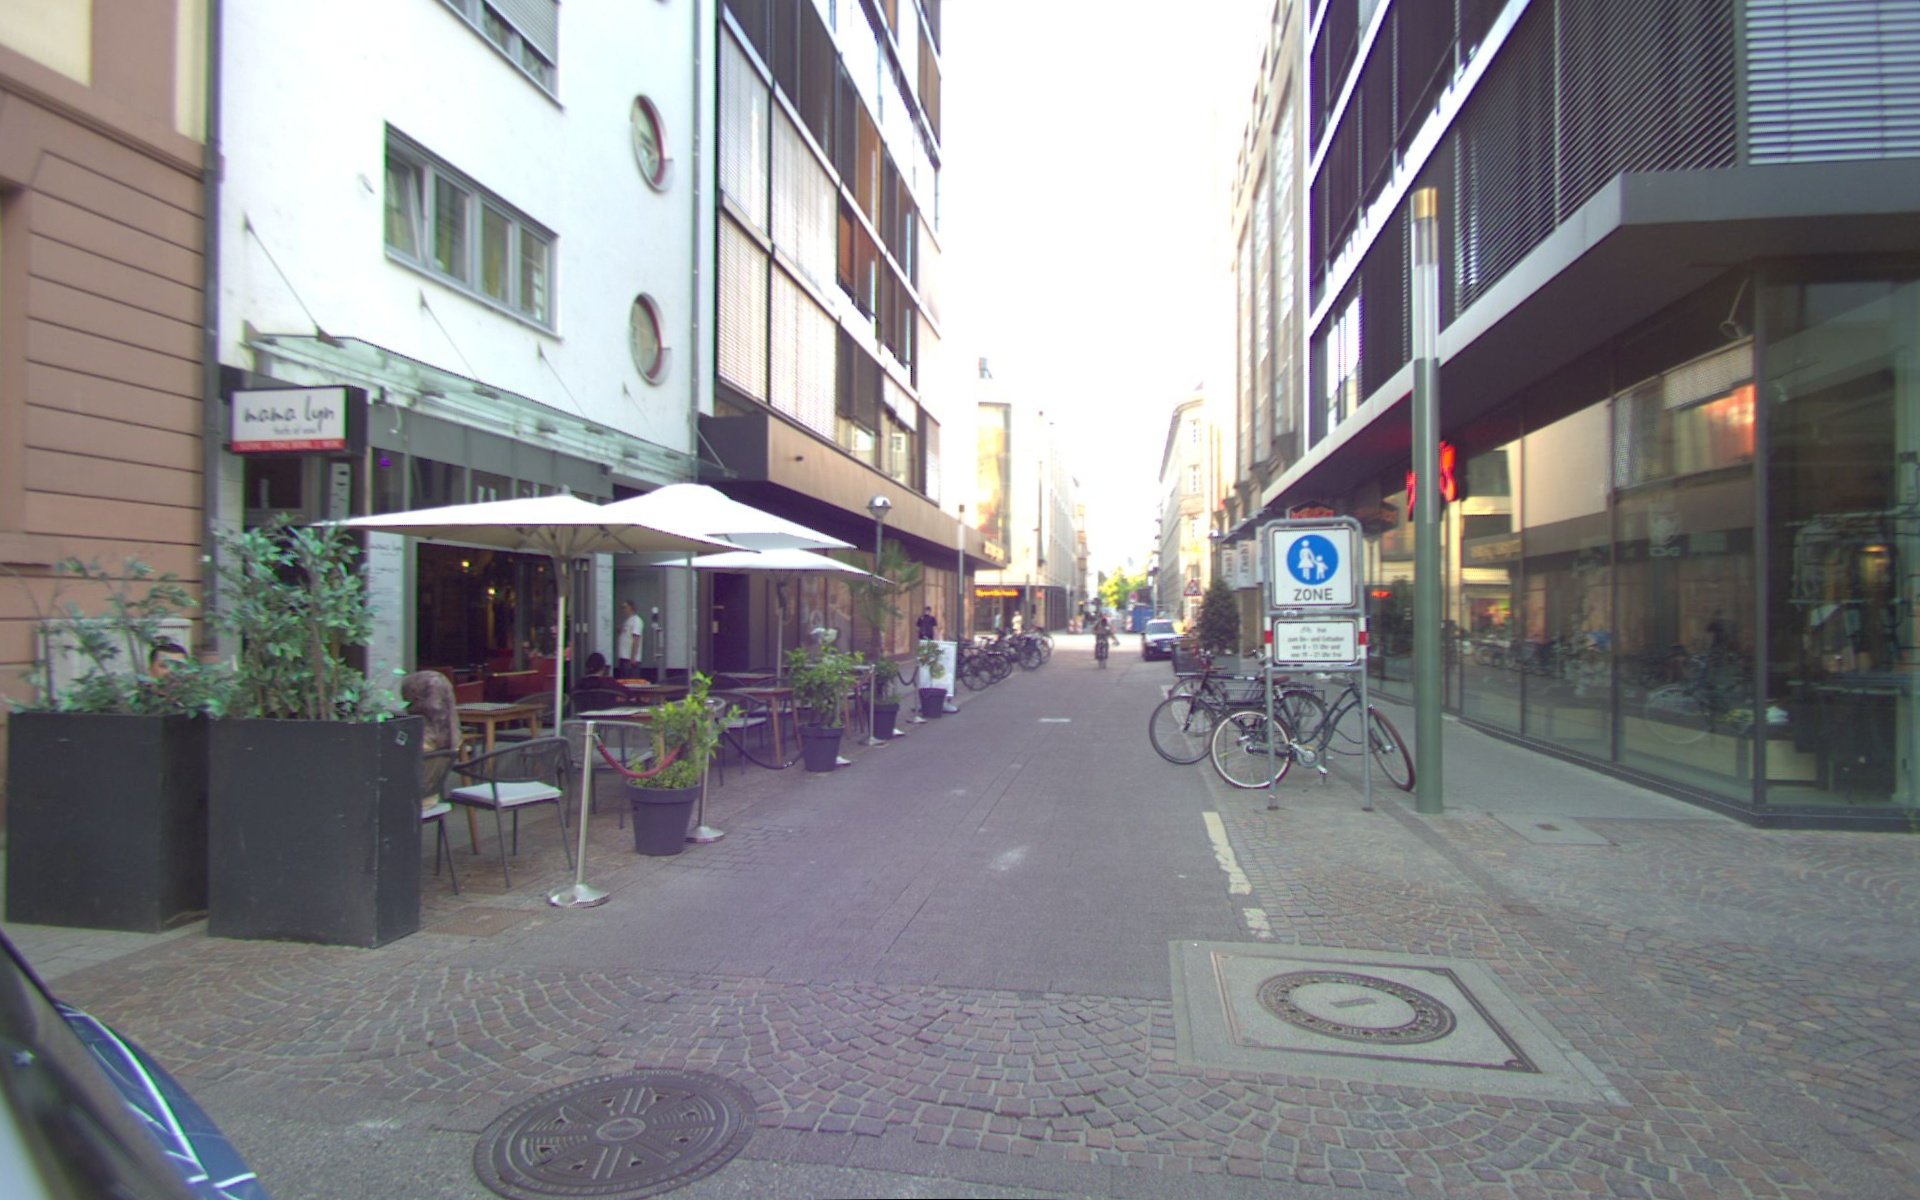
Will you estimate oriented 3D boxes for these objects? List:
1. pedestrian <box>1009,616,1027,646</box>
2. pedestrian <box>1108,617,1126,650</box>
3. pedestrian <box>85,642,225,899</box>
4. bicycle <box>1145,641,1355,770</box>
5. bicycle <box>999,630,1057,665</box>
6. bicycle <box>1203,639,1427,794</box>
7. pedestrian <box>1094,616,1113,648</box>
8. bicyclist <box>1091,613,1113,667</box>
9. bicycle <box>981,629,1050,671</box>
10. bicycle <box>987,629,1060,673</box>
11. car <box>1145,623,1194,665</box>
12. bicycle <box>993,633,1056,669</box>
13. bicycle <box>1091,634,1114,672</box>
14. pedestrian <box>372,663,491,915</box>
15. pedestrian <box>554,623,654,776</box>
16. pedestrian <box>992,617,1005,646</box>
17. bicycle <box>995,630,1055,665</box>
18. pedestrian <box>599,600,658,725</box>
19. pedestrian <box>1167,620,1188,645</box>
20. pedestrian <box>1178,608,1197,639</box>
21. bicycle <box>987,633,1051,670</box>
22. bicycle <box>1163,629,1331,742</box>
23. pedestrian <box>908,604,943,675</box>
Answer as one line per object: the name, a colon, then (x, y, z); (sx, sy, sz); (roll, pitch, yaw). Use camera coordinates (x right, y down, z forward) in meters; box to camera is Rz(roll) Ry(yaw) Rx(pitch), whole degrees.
pedestrian: (3.144, 1.680, 55.177); (0.626, 1.633, 0.784); (1, -1, -39)
pedestrian: (7.874, 1.654, 50.828); (0.772, 1.633, 0.636); (0, -1, 0)
pedestrian: (-4.347, 0.891, 5.490); (0.357, 1.315, 0.495); (0, -1, -4)
bicycle: (2.822, 1.035, 10.015); (1.882, 1.190, 0.516); (-3, -3, 9)
bicycle: (2.409, 1.672, 35.702); (2.017, 1.225, 0.617); (0, -1, 10)
bicycle: (2.926, 0.966, 8.466); (1.652, 1.213, 0.508); (-2, -2, 10)
pedestrian: (7.325, 1.639, 51.617); (0.770, 1.633, 0.637); (0, -1, -13)
bicyclist: (4.488, 1.244, 31.918); (0.668, 1.683, 0.867); (0, -1, 9)
bicycle: (1.726, 1.535, 31.246); (2.017, 1.176, 0.617); (3, -1, 10)
bicycle: (1.871, 1.483, 29.708); (2.017, 1.176, 0.664); (3, -1, 10)
car: (7.588, 1.533, 36.451); (1.588, 1.434, 3.588); (0, -1, 14)
bicycle: (2.141, 1.688, 33.539); (2.017, 1.176, 0.617); (0, -1, 10)
bicycle: (4.508, 1.649, 31.977); (0.692, 1.137, 1.999); (0, -1, 9)
pedestrian: (-2.703, 0.946, 5.196); (0.395, 1.223, 0.383); (0, -1, 1)
pedestrian: (-3.492, 0.947, 9.977); (0.570, 1.431, 0.865); (0, -1, 11)
pedestrian: (2.094, 1.684, 54.783); (0.626, 1.536, 0.783); (0, 0, -2)
bicycle: (2.252, 1.632, 34.981); (2.017, 1.176, 0.617); (0, -1, 10)
pedestrian: (-4.834, 0.892, 14.784); (0.632, 1.785, 0.601); (0, -1, 5)
pedestrian: (14.005, 2.098, 65.259); (0.977, 1.584, 0.922); (1, -1, -36)
pedestrian: (12.159, 1.233, 54.023); (0.658, 1.650, 0.766); (1, -1, -43)
bicycle: (1.889, 1.644, 32.470); (2.017, 1.176, 0.617); (0, -1, 10)
bicycle: (3.536, 1.060, 12.604); (1.883, 1.279, 0.536); (-4, -2, 11)
pedestrian: (-0.908, 1.042, 26.974); (0.796, 1.850, 0.672); (0, -1, 12)
